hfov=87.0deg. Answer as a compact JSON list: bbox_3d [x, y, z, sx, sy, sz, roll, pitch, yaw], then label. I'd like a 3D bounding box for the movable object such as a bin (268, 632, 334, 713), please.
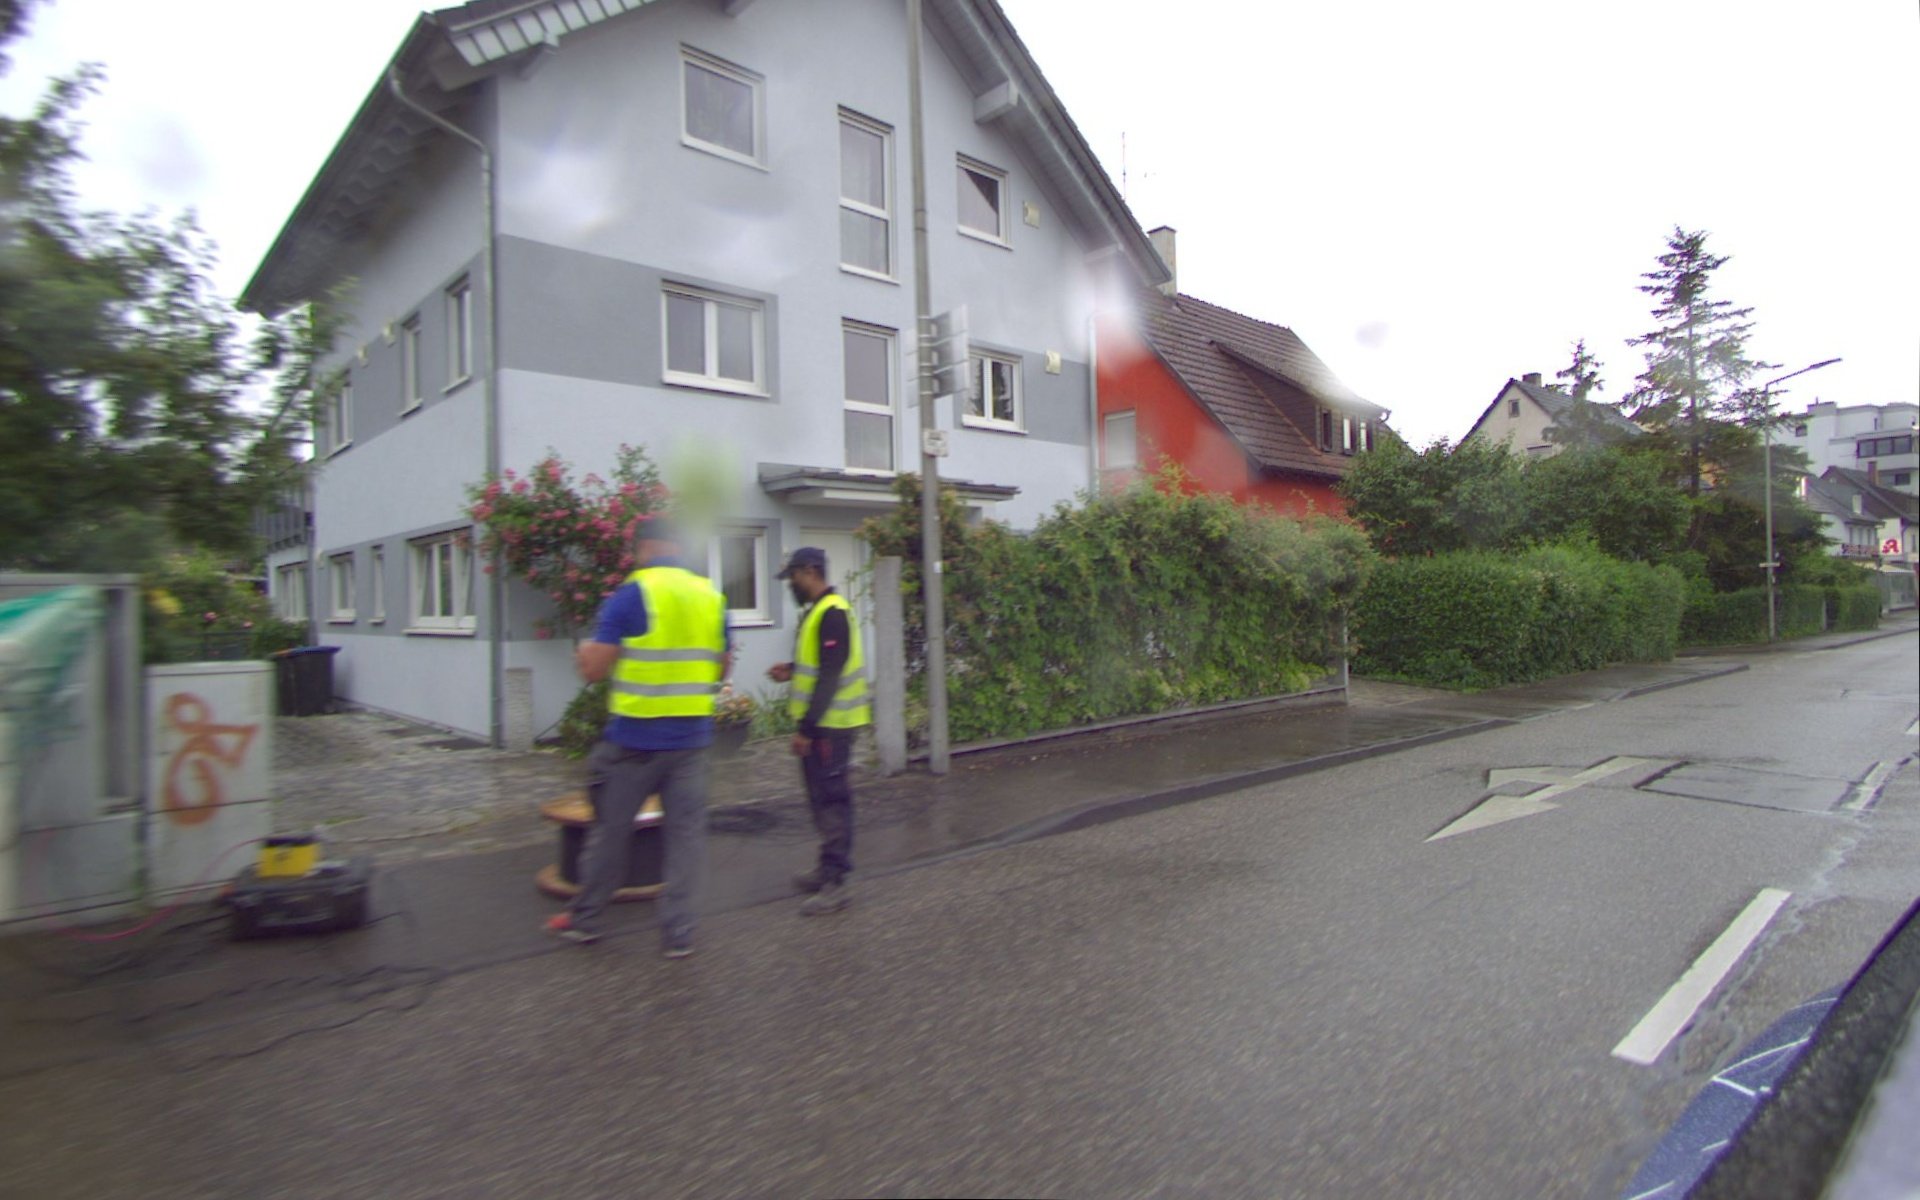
[{"bbox_3d":[-10.644,1.151,16.345,0.778,1.215,0.880,0,-1,-40],"label":"movable object such as a bin"}]

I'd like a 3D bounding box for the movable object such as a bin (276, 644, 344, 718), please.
[{"bbox_3d":[-10.072,1.231,15.667,0.778,1.043,0.880,0,0,-40],"label":"movable object such as a bin"}]

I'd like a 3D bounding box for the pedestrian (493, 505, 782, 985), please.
[{"bbox_3d":[-1.324,0.512,4.209,0.707,1.728,0.880,2,1,36],"label":"pedestrian"}]

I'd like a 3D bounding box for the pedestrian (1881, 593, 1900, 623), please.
[{"bbox_3d":[51.665,0.428,56.194,0.610,1.652,0.695,0,-1,-43],"label":"pedestrian"}]

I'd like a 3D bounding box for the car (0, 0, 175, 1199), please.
[{"bbox_3d":[-4.538,0.172,0.557,6.324,2.462,2.394,0,0,-43],"label":"car"}]

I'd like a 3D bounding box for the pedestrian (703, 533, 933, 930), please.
[{"bbox_3d":[-0.655,0.547,4.829,0.573,1.684,0.931,2,1,36],"label":"pedestrian"}]

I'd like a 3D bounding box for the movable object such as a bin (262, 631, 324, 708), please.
[{"bbox_3d":[-11.231,1.149,17.038,0.778,1.215,0.880,0,-1,-40],"label":"movable object such as a bin"}]
